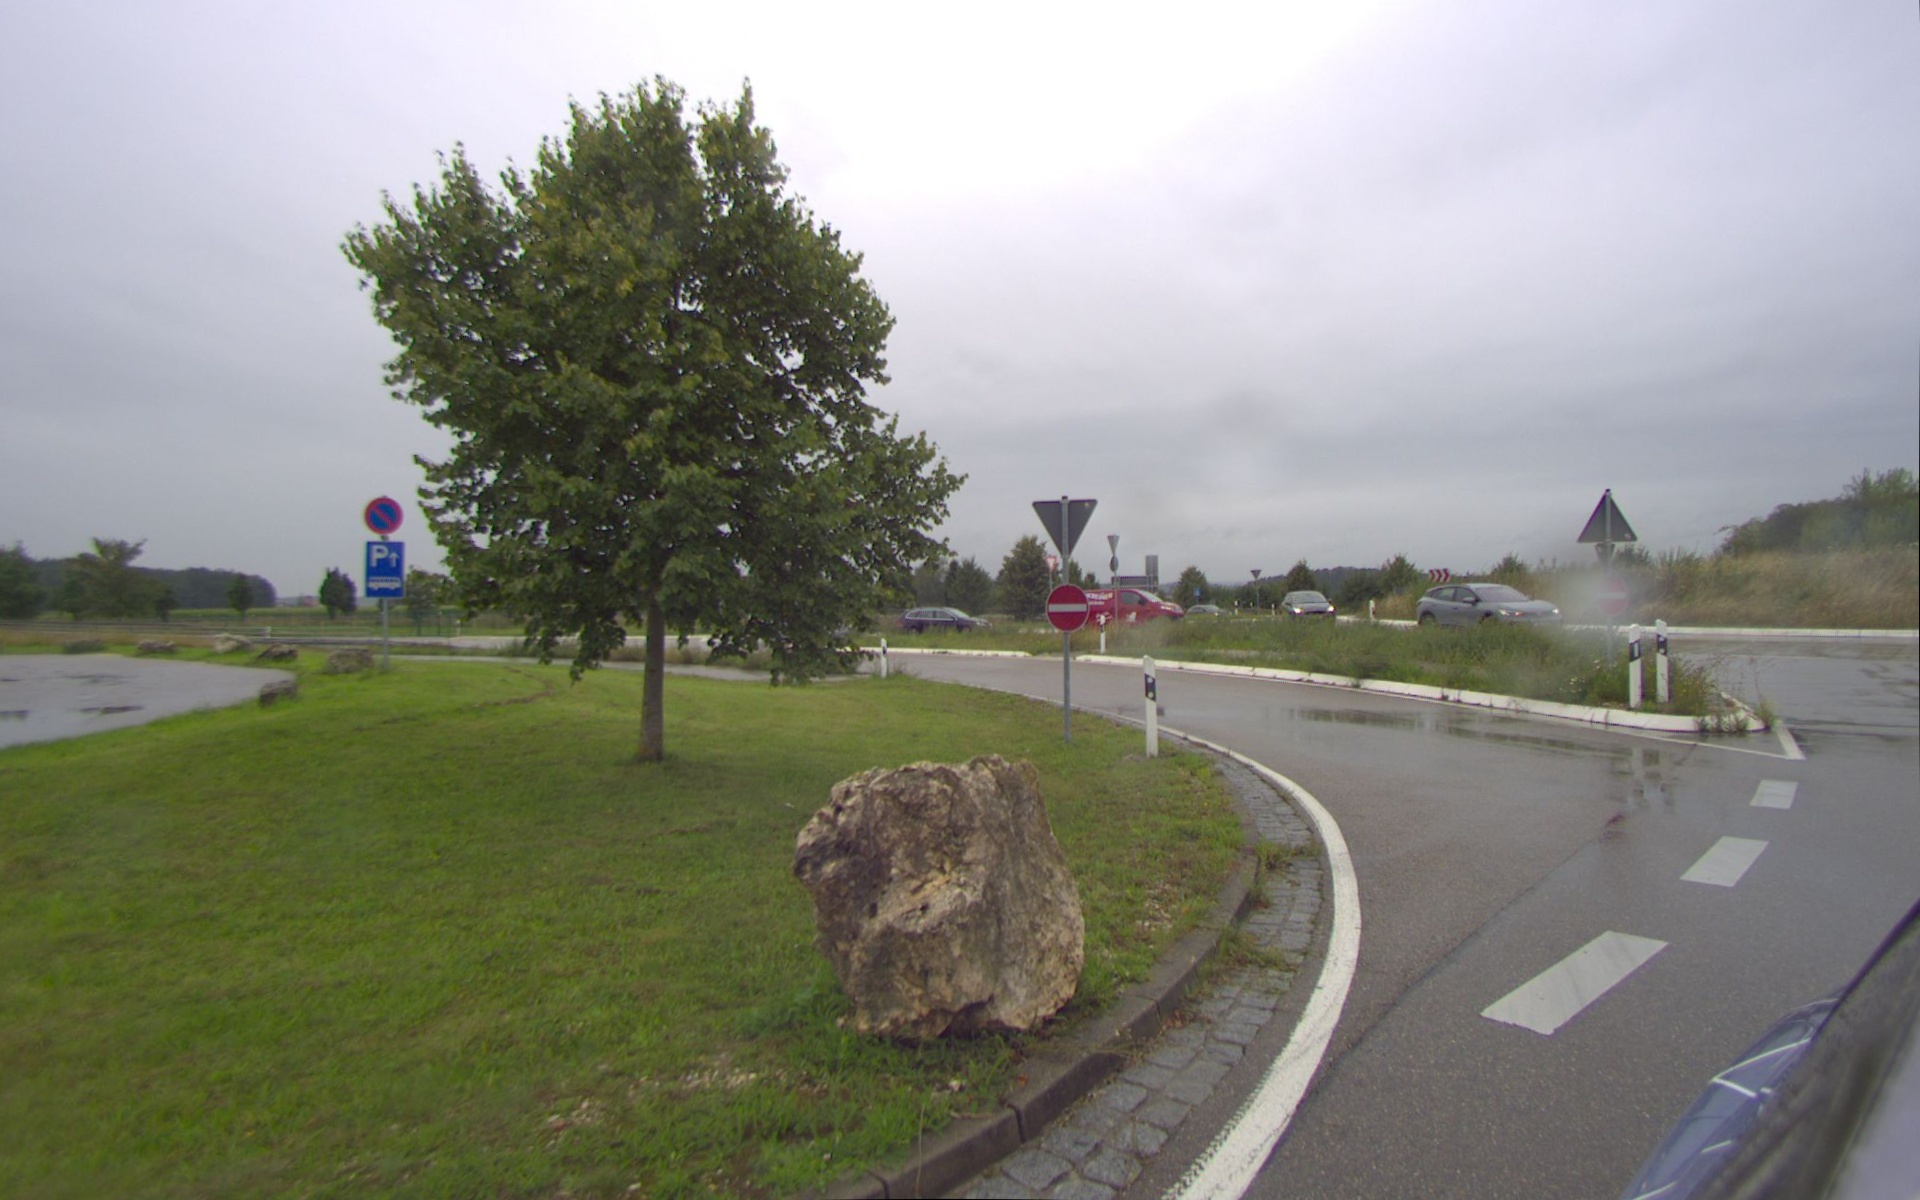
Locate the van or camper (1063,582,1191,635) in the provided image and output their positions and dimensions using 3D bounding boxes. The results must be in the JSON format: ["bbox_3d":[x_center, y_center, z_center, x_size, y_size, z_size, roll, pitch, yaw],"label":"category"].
[{"bbox_3d":[6.886,0.358,41.757,4.804,2.038,1.980,-1,2,30],"label":"van or camper"}]

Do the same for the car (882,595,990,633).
[{"bbox_3d":[-1.043,0.635,45.323,4.462,1.624,1.989,-1,-1,17],"label":"car"}]

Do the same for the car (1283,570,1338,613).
[{"bbox_3d":[14.688,-0.410,42.605,1.800,1.610,3.982,-4,1,15],"label":"car"}]

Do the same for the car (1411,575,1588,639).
[{"bbox_3d":[15.144,0.174,28.732,1.959,1.594,4.508,-2,1,-11],"label":"car"}]

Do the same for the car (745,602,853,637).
[{"bbox_3d":[-7.546,0.914,47.417,4.597,1.500,1.990,-1,1,17],"label":"car"}]
